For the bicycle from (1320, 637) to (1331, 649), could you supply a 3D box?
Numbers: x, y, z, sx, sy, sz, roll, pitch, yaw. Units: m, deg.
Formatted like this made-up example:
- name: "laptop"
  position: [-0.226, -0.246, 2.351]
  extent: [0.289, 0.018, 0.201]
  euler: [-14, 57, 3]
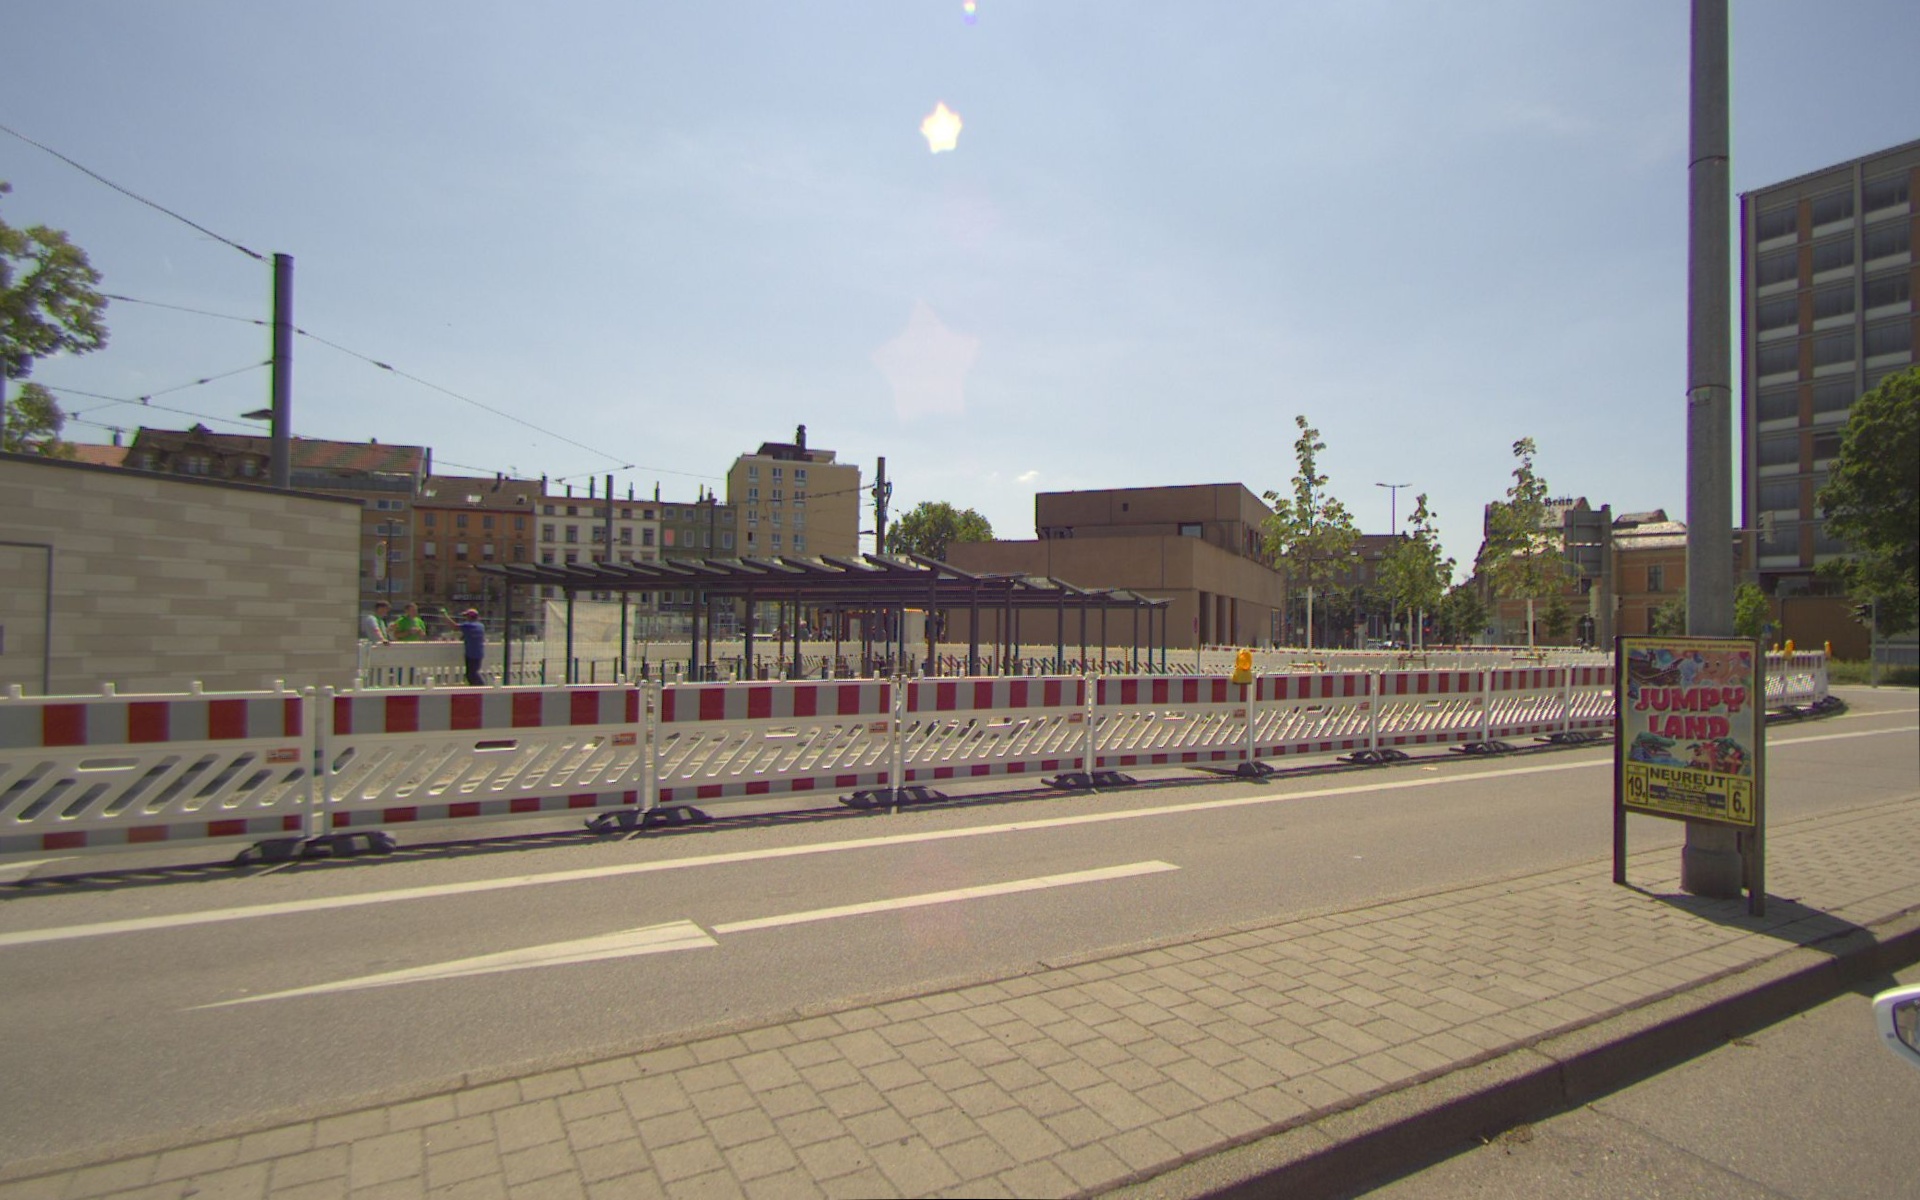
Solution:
- name: "bicycle"
  position: [59.769, 6.965, 164.183]
  extent: [0.602, 1.812, 3.181]
  euler: [2, 0, -1]

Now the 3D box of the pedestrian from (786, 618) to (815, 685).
- name: "pedestrian"
  position: [-4.978, 1.595, 31.368]
  extent: [0.635, 2.040, 0.646]
  euler: [2, 0, 18]

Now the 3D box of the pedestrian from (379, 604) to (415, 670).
- name: "pedestrian"
  position: [-16.577, 1.085, 29.582]
  extent: [0.685, 1.882, 0.606]
  euler: [2, 0, 21]

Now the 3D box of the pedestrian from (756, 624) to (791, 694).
- name: "pedestrian"
  position: [-5.609, 1.757, 30.240]
  extent: [0.747, 2.040, 0.646]
  euler: [2, 0, 19]

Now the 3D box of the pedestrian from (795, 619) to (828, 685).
- name: "pedestrian"
  position: [-4.743, 1.655, 32.100]
  extent: [0.747, 2.040, 0.646]
  euler: [2, 0, 19]

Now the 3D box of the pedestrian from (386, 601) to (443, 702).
- name: "pedestrian"
  position: [-10.105, 0.929, 18.609]
  extent: [0.633, 1.812, 0.637]
  euler: [2, 0, 25]

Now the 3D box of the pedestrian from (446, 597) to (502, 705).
- name: "pedestrian"
  position: [-8.906, 0.922, 18.424]
  extent: [0.679, 1.931, 0.576]
  euler: [2, 0, 24]

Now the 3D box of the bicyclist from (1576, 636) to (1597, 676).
- name: "bicyclist"
  position: [25.760, 2.298, 41.327]
  extent: [0.522, 1.600, 0.497]
  euler: [2, -2, -12]

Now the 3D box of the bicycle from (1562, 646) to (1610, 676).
- name: "bicycle"
  position: [25.743, 2.502, 41.331]
  extent: [0.515, 1.196, 1.894]
  euler: [1, -3, -12]

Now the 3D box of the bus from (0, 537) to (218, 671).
- name: "bus"
  position: [-23.815, 0.052, 23.220]
  extent: [2.802, 3.094, 10.592]
  euler: [2, 0, 26]

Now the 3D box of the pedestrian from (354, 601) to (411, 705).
- name: "pedestrian"
  position: [-10.236, 0.922, 17.809]
  extent: [0.530, 1.779, 0.660]
  euler: [2, 0, 16]

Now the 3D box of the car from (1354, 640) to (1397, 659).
- name: "car"
  position: [34.887, 4.133, 84.441]
  extent: [1.688, 1.577, 4.587]
  euler: [1, -2, -1]

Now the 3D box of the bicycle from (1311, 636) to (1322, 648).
- name: "bicycle"
  position: [58.361, 6.845, 164.245]
  extent: [0.602, 1.812, 3.181]
  euler: [2, 0, -1]
